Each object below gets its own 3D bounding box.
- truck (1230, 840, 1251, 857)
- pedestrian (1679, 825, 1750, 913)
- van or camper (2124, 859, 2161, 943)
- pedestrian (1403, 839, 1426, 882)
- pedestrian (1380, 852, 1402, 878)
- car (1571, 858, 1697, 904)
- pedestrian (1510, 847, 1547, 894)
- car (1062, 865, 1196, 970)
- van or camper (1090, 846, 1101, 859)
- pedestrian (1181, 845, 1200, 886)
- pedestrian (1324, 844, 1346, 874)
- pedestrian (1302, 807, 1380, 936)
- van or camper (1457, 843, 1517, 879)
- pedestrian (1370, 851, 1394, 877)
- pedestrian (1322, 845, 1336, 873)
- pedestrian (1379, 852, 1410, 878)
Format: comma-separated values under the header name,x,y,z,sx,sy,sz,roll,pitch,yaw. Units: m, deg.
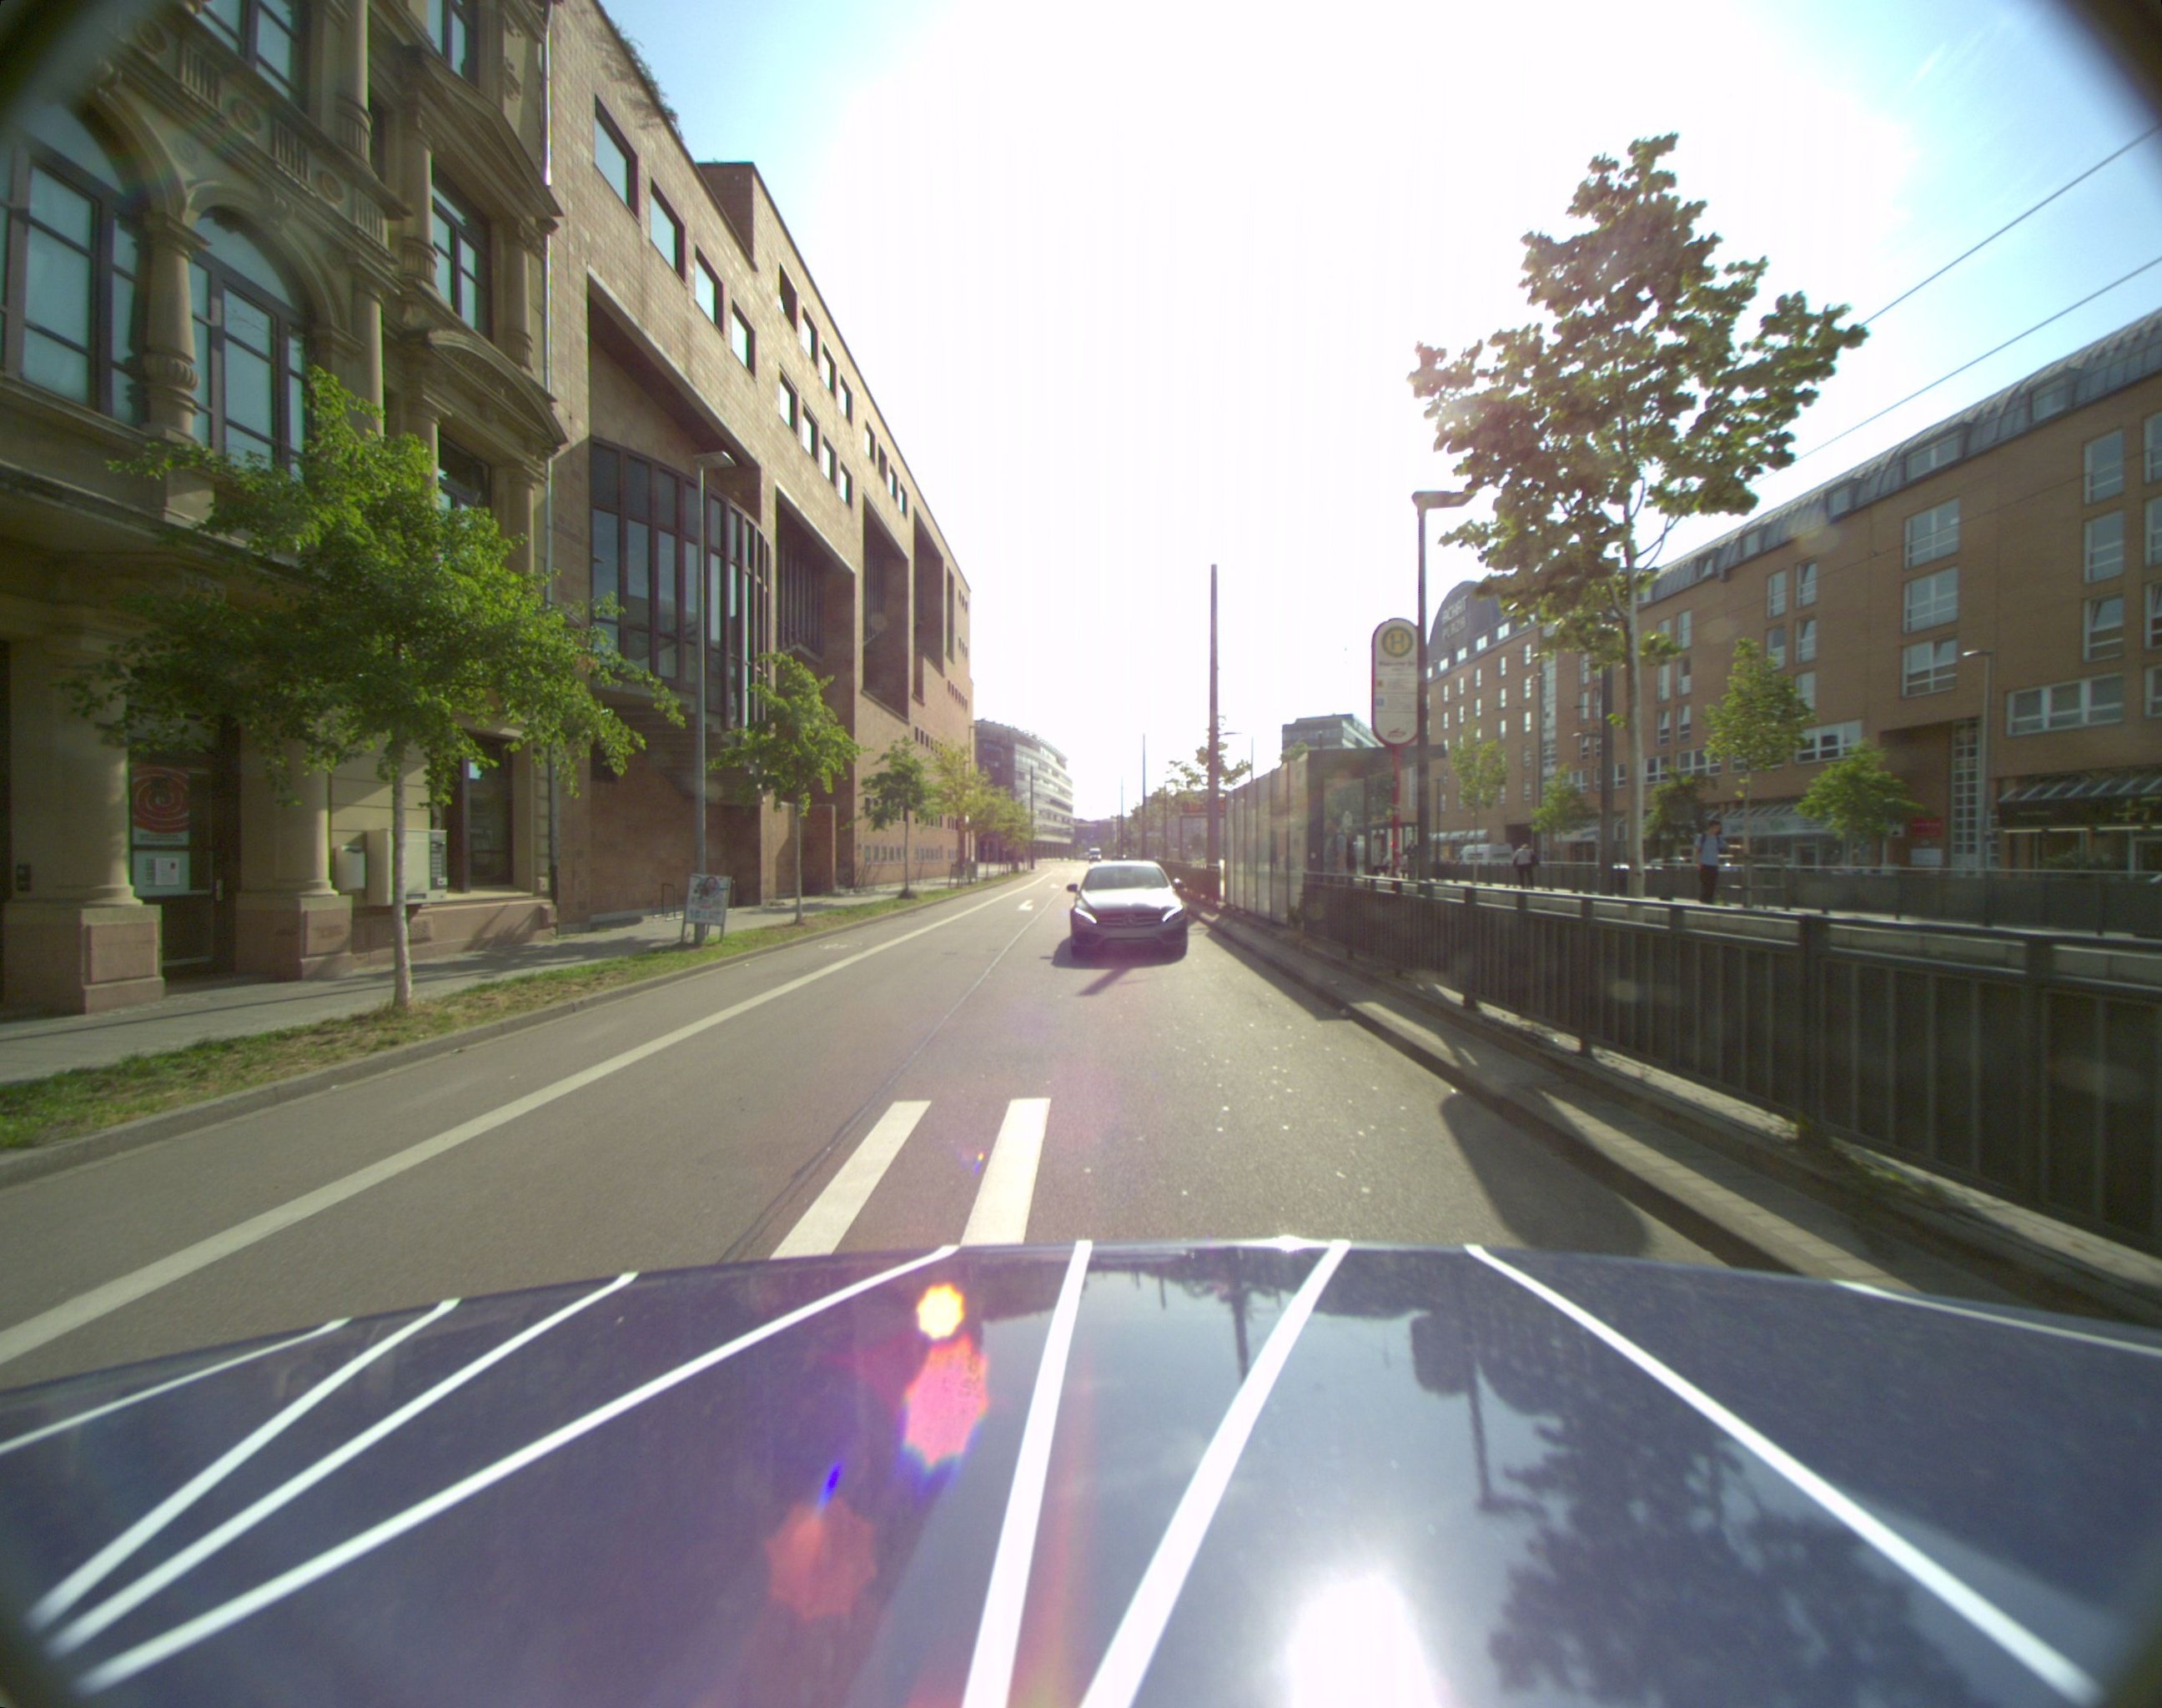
name,x,y,z,sx,sy,sz,roll,pitch,yaw
truck,36.548,-1.147,174.885,3.167,3.754,12.363,0,0,5
pedestrian,13.672,0.316,16.430,0.740,1.861,0.939,0,1,3
van or camper,26.813,1.133,16.863,1.997,2.002,4.002,0,0,6
pedestrian,14.611,0.268,33.294,0.806,1.875,0.555,0,1,5
pedestrian,15.190,0.524,37.197,0.793,1.238,0.675,1,1,1
car,23.572,1.094,32.624,1.999,1.795,4.631,1,0,0
pedestrian,14.682,0.523,24.958,0.679,1.522,0.810,-1,1,-29
car,0.741,0.942,13.056,1.907,1.384,4.236,-1,1,1
van or camper,2.509,-0.282,129.877,1.933,2.198,3.986,0,0,2
pedestrian,4.860,0.502,33.810,0.675,1.747,0.727,-3,1,1
pedestrian,14.644,0.280,43.758,0.786,1.736,0.833,1,1,-35
pedestrian,4.256,0.270,12.501,0.835,2.002,1.028,-3,1,-2
van or camper,32.365,0.524,60.759,1.998,2.786,5.353,0,0,2
pedestrian,15.414,0.500,38.909,0.871,1.306,0.808,0,1,-2
pedestrian,16.082,0.330,49.224,0.652,1.750,0.698,-3,1,2
pedestrian,15.012,0.530,36.409,1.156,1.238,0.675,1,1,1
